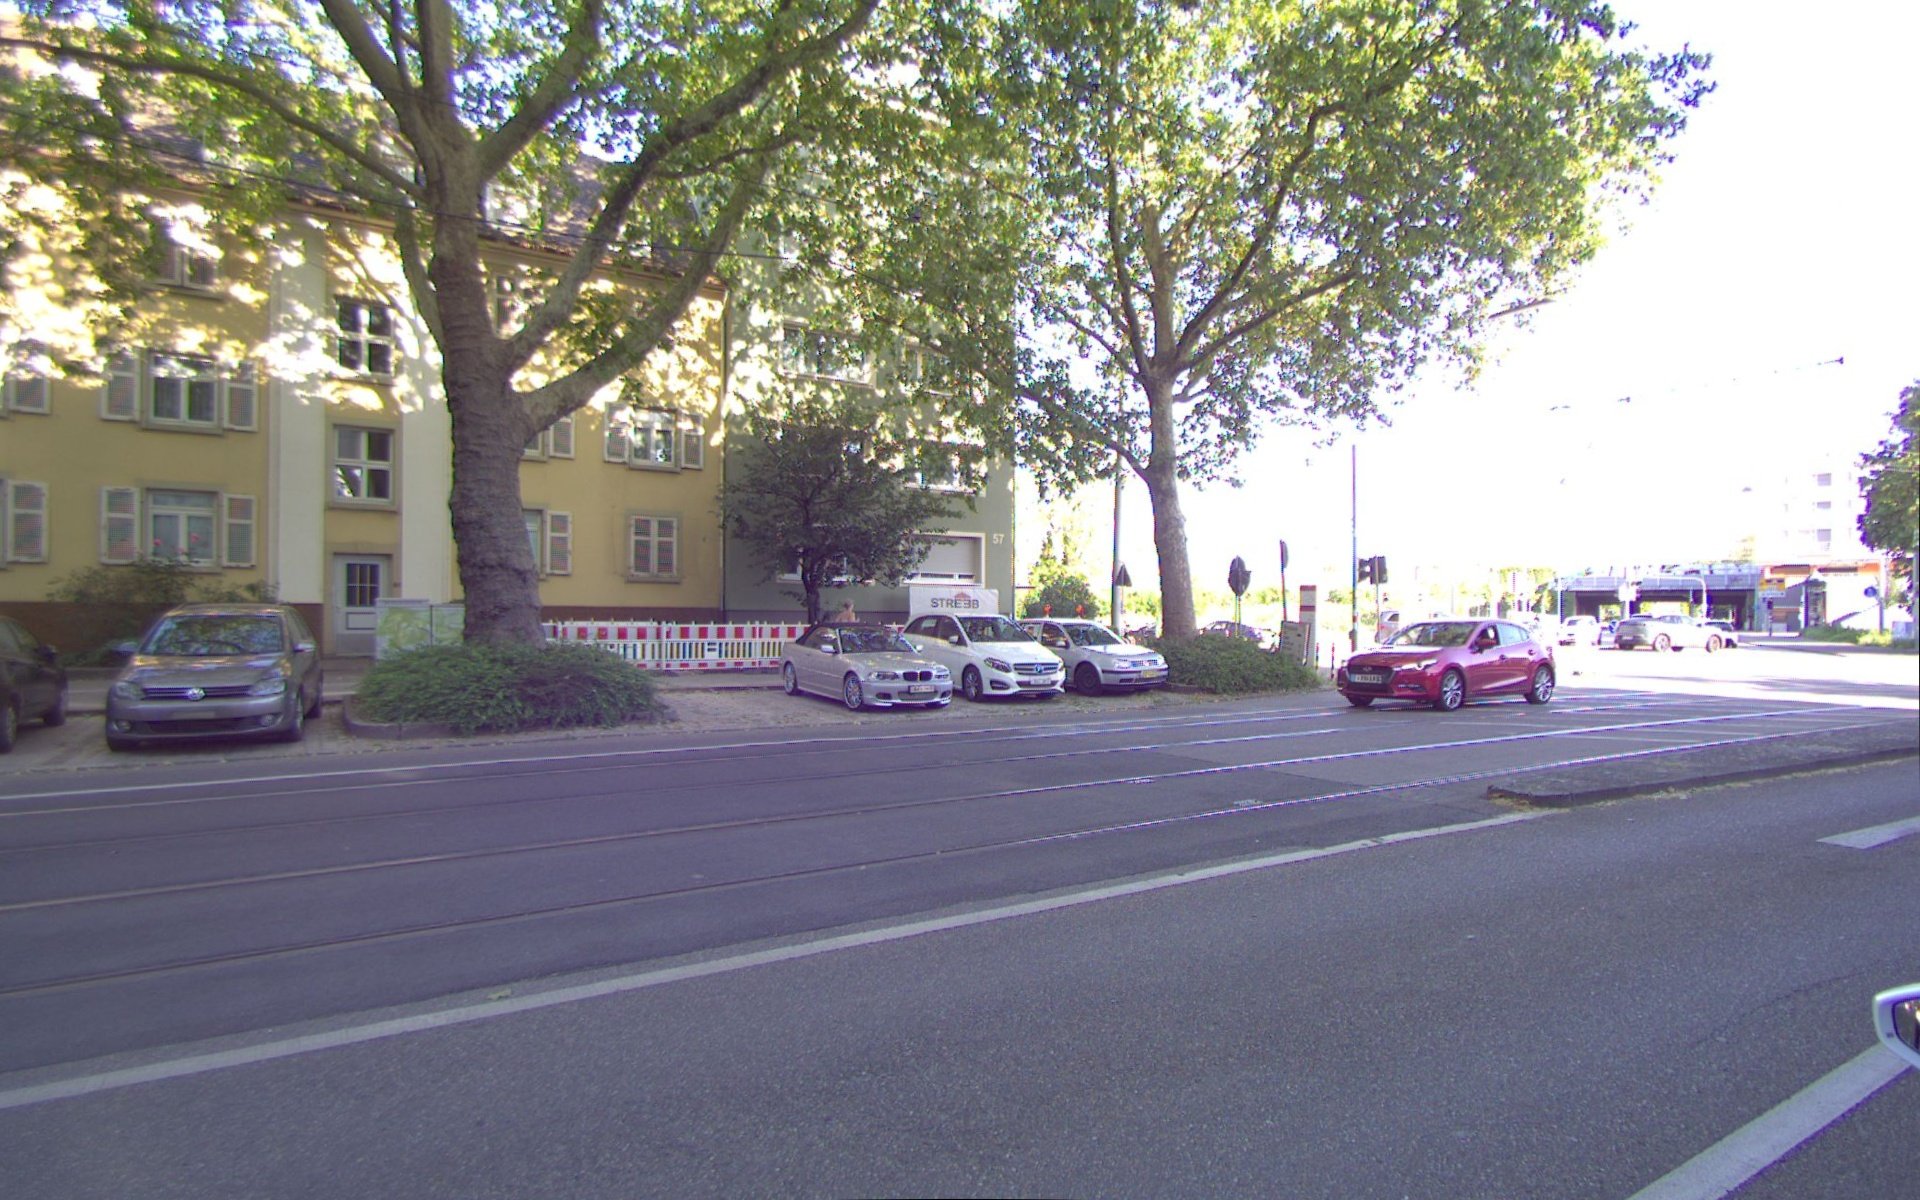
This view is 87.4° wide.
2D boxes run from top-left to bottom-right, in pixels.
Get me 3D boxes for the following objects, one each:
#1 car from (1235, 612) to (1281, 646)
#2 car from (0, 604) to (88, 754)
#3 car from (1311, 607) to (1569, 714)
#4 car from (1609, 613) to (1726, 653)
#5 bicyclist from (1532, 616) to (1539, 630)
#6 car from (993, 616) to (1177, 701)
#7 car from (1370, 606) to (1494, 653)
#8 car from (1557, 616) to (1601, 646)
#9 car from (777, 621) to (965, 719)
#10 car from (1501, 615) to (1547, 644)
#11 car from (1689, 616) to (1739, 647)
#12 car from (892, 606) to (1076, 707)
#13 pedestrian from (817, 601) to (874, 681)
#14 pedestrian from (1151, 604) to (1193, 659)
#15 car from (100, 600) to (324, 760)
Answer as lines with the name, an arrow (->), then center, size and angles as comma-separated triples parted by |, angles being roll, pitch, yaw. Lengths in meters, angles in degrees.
car -> 15.515, 1.485, 52.175 | 1.574, 1.723, 3.636 | 0, -1, 28
car -> -11.467, 0.828, 11.378 | 1.652, 1.518, 3.778 | 1, 0, -29
car -> 8.171, 0.932, 16.980 | 4.445, 1.586, 2.004 | 1, -1, -34
car -> 30.072, 1.394, 42.713 | 4.135, 1.539, 1.798 | 2, 0, -14
bicyclist -> 51.280, 2.063, 89.489 | 0.519, 1.239, 0.528 | 0, 0, 36
car -> 2.438, 1.107, 20.522 | 1.651, 1.473, 3.949 | 1, 0, -31
car -> 20.284, 1.244, 43.298 | 4.755, 1.907, 1.913 | 0, -1, 26
car -> 35.793, 1.786, 58.044 | 1.860, 1.606, 3.823 | 2, 0, 37
car -> -1.652, 1.105, 17.303 | 1.651, 1.370, 3.949 | 1, 0, -31
car -> 33.209, 1.712, 59.092 | 1.860, 1.606, 3.823 | 2, 0, 37
car -> 42.238, 1.738, 56.349 | 1.964, 1.572, 4.185 | 2, 0, 33
car -> 0.348, 0.980, 19.148 | 1.651, 1.669, 3.949 | 1, 0, -31
pedestrian -> -2.466, 0.870, 21.651 | 0.945, 1.683, 0.768 | 2, 0, -32
pedestrian -> 6.558, 0.978, 31.047 | 0.919, 1.669, 0.841 | 2, 0, -30
car -> -9.001, 0.828, 12.409 | 1.652, 1.602, 3.953 | 1, 0, -29
